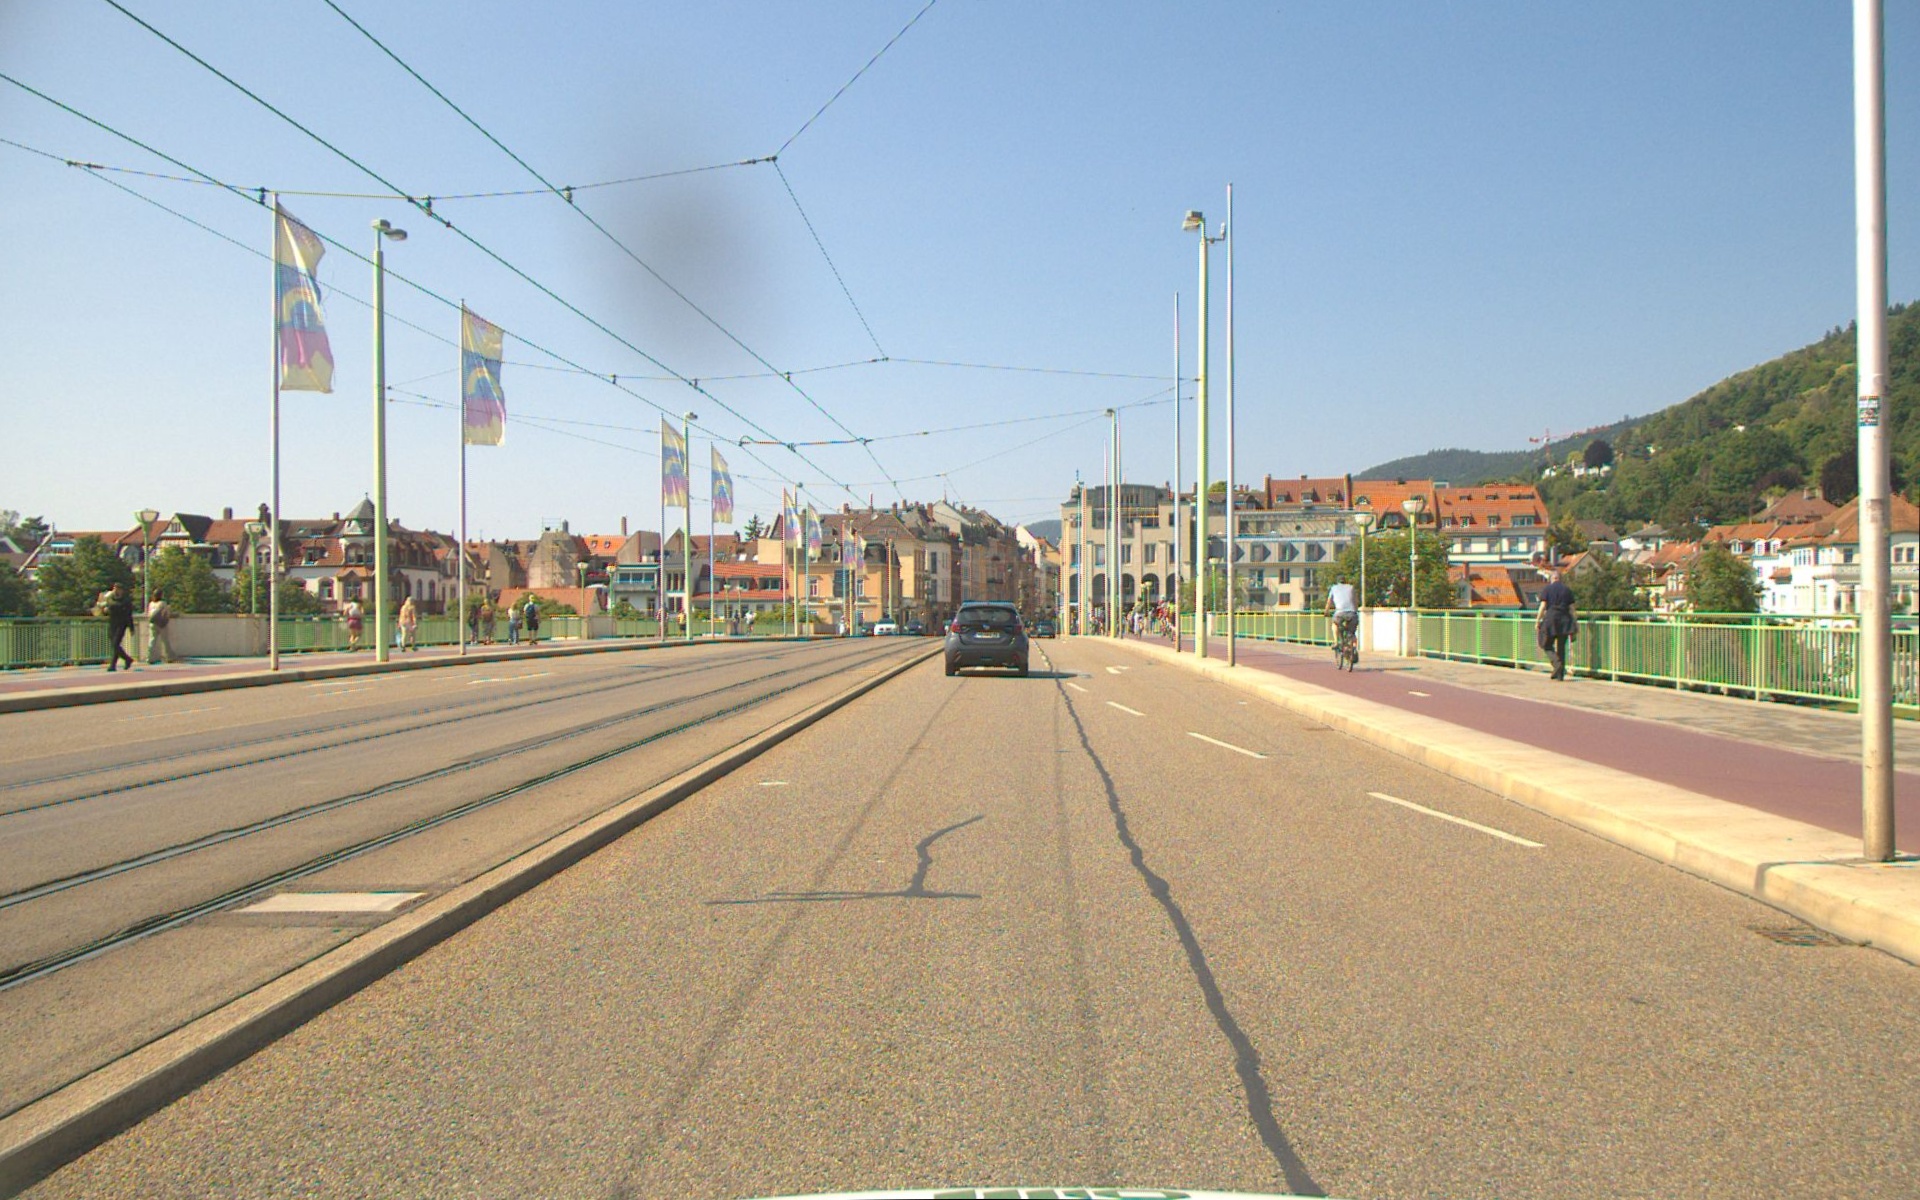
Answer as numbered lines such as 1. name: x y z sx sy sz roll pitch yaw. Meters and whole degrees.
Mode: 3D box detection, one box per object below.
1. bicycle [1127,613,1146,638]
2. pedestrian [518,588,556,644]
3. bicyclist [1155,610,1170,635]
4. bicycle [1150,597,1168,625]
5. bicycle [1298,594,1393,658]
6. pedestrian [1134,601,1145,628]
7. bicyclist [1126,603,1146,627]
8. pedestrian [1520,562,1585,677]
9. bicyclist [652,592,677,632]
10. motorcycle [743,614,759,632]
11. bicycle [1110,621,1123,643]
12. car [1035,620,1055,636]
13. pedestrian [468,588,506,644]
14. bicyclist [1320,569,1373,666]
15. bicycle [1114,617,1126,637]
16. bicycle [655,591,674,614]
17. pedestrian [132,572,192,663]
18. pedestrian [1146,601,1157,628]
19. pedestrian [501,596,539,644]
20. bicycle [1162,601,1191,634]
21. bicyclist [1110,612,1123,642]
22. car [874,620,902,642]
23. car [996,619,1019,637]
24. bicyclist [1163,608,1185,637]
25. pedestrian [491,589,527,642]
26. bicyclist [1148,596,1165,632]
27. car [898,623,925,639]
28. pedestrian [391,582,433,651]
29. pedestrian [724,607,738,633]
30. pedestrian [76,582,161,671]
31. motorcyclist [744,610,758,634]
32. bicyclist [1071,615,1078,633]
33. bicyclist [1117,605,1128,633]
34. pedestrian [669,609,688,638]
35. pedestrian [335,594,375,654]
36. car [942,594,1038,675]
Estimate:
1. bicycle: 7.552 1.091 70.932 0.605 1.056 2.051 0 -1 0
2. pedestrian: -15.799 0.595 61.783 1.075 2.049 1.295 0 0 -1
3. bicyclist: 9.229 1.013 75.296 0.586 1.121 0.853 0 -1 12
4. bicycle: 9.337 0.510 77.583 0.605 1.293 2.216 0 -1 0
5. bicycle: 7.235 0.461 31.251 0.776 1.115 3.743 -1 0 -2
6. pedestrian: 11.138 0.891 102.422 0.587 1.614 0.867 0 -1 0
7. bicyclist: 7.541 0.648 70.936 0.720 1.048 1.175 0 -1 0
8. pedestrian: 9.339 0.289 26.096 0.641 1.774 0.978 0 1 -4
9. bicyclist: -14.651 0.583 82.009 1.075 1.996 1.129 0 0 -1
10. motorcycle: -13.485 1.503 106.782 0.686 1.129 2.179 0 -1 1
11. bicycle: 9.011 1.845 95.515 0.581 1.199 1.939 0 -1 1
12. car: 8.258 2.715 160.665 1.766 1.494 4.002 -2 -1 4
13. pedestrian: -17.505 0.573 61.232 1.075 2.049 1.129 0 0 -1
14. bicyclist: 7.246 0.316 31.026 0.659 1.774 1.150 -1 0 -2
15. bicycle: 9.818 1.667 101.594 0.515 1.199 2.029 0 -1 1
16. bicycle: -14.660 0.111 81.972 0.576 1.116 2.112 0 0 0
17. pedestrian: -18.292 0.393 37.943 0.880 2.049 1.042 0 0 -1
18. pedestrian: 11.879 0.904 102.445 0.587 1.614 0.867 0 -1 0
19. pedestrian: -16.337 0.742 61.467 1.075 1.759 1.295 0 0 -1
20. bicycle: 8.184 0.677 62.637 0.681 1.214 2.078 -1 -1 -3
21. bicyclist: 9.020 1.536 95.449 0.642 1.705 0.869 0 -1 0
22. car: -5.649 2.403 128.794 1.955 1.433 4.543 -3 1 -5
23. car: 4.104 2.448 143.846 1.767 1.494 3.999 -2 -1 -1
24. bicyclist: 8.164 0.856 63.050 0.653 1.063 0.979 0 -1 -4
25. pedestrian: -17.612 0.586 64.591 1.075 2.049 1.129 0 0 -1
26. bicyclist: 9.241 0.659 77.742 0.720 1.664 0.867 0 -1 0
27. car: -4.860 3.128 166.793 1.951 1.627 4.341 0 -1 9
28. pedestrian: -16.620 0.489 50.196 0.949 2.049 1.101 0 0 -3
29. pedestrian: -16.048 1.398 115.807 0.813 1.752 1.094 0 -1 2
30. pedestrian: -17.347 0.540 34.129 1.075 1.789 1.295 0 0 -1
31. motorcyclist: -13.492 1.428 106.786 0.784 1.576 1.069 0 -1 1
32. bicyclist: 10.574 2.234 152.813 0.639 1.594 1.338 -2 -2 4
33. bicyclist: 9.964 1.180 101.598 0.615 1.719 0.869 0 -1 0
34. pedestrian: -16.592 1.398 97.546 0.880 1.687 1.029 0 -1 4
35. pedestrian: -17.883 0.713 48.943 0.739 1.752 1.175 0 -1 -1
36. car: 0.581 0.674 34.642 1.871 1.567 4.000 1 0 0
